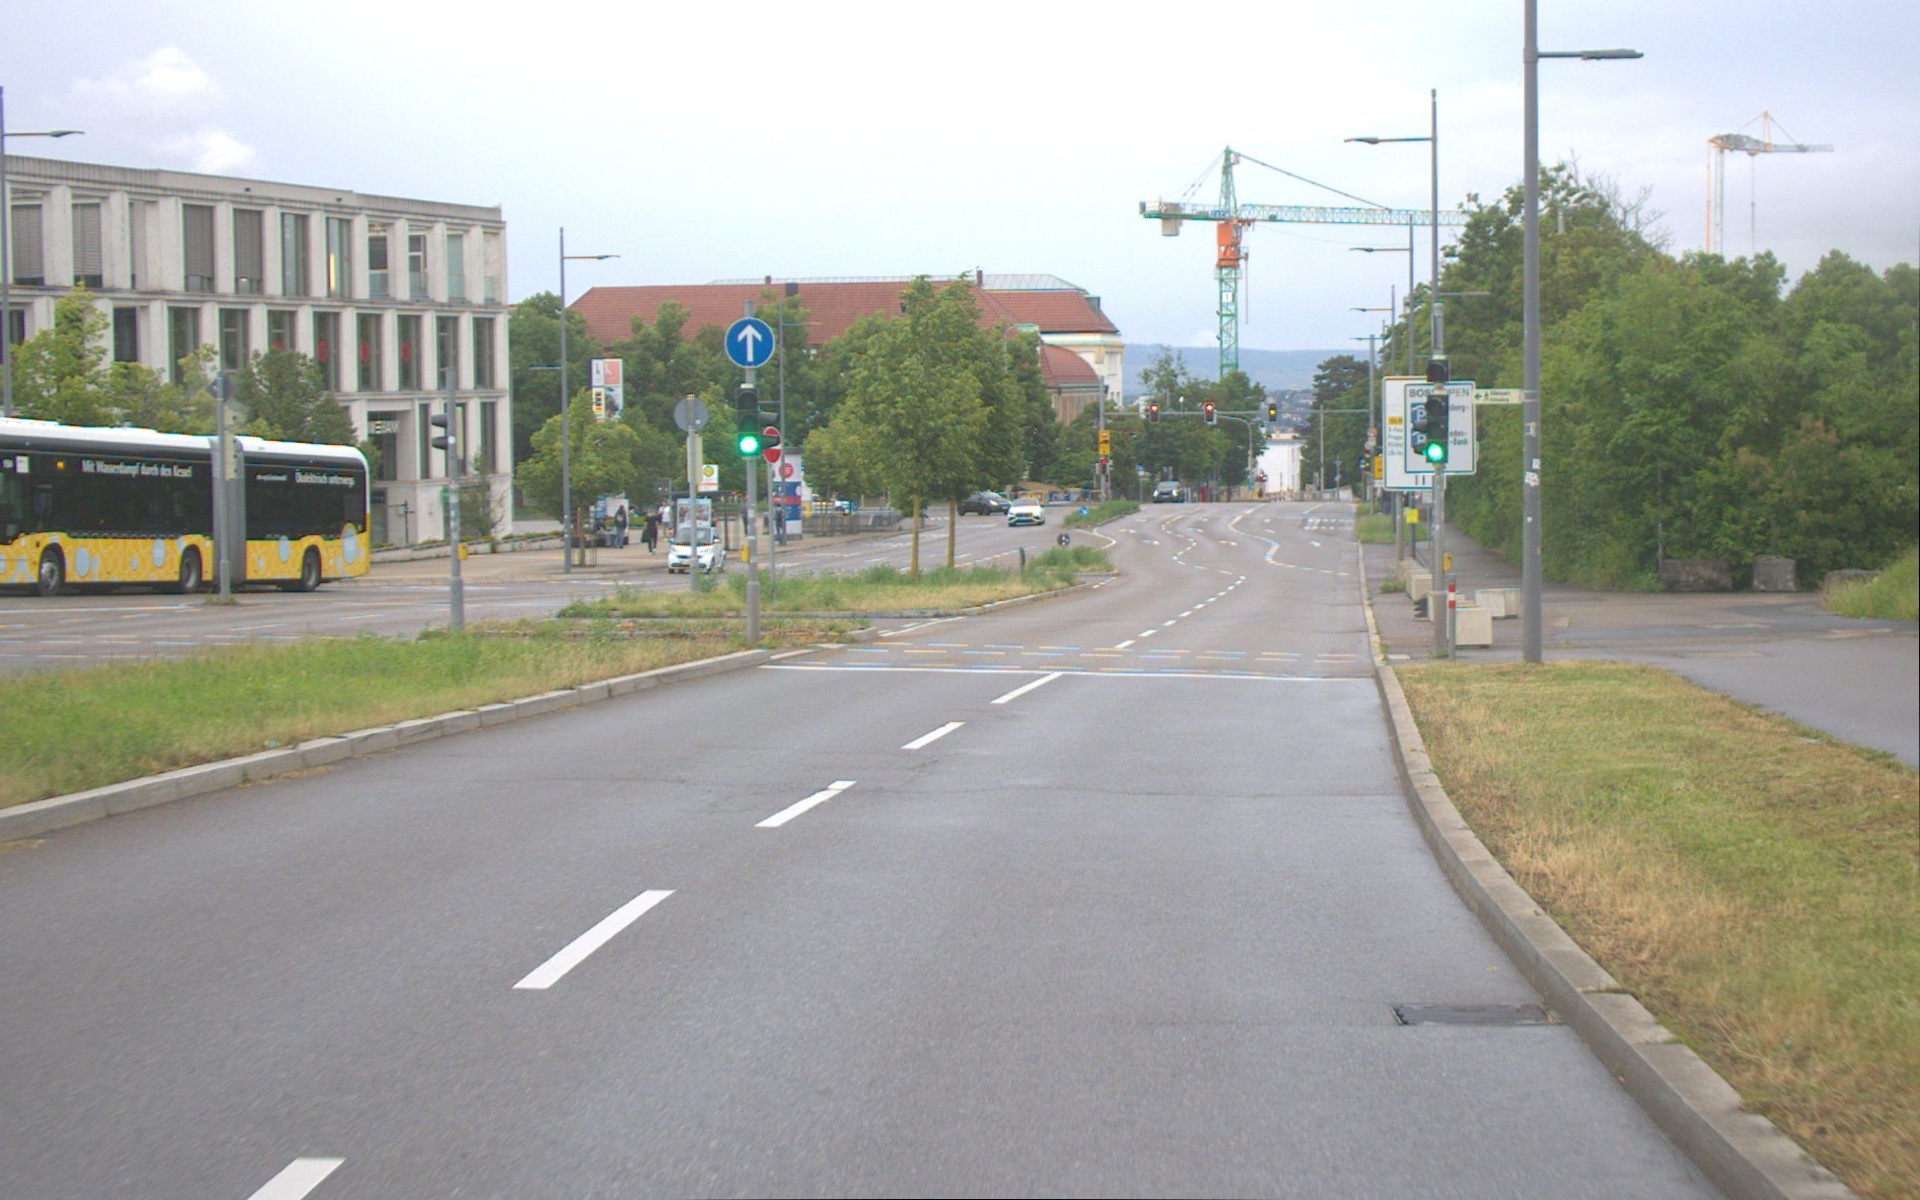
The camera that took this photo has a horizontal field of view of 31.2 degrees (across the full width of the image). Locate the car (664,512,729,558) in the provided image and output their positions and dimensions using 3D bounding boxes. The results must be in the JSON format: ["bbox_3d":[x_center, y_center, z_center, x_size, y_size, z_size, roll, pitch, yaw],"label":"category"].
[{"bbox_3d":[-8.713,-2.143,113.861,1.479,1.489,2.529,0,0,12],"label":"car"}]

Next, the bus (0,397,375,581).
[{"bbox_3d":[-17.200,-2.102,71.983,2.786,3.345,18.215,0,0,14],"label":"bus"}]

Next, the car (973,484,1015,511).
[{"bbox_3d":[2.030,-6.176,207.212,1.769,1.489,4.069,0,0,-11],"label":"car"}]

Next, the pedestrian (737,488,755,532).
[{"bbox_3d":[-9.897,-4.149,158.941,0.748,2.007,0.838,0,0,-11],"label":"pedestrian"}]

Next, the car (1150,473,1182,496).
[{"bbox_3d":[14.926,-8.354,248.459,1.770,1.489,4.066,0,0,11],"label":"car"}]

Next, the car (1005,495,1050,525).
[{"bbox_3d":[3.653,-4.820,184.598,1.770,1.489,4.066,0,0,10],"label":"car"}]

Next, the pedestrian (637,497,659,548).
[{"bbox_3d":[-11.876,-2.944,130.949,0.748,1.940,0.838,0,0,-11],"label":"pedestrian"}]
